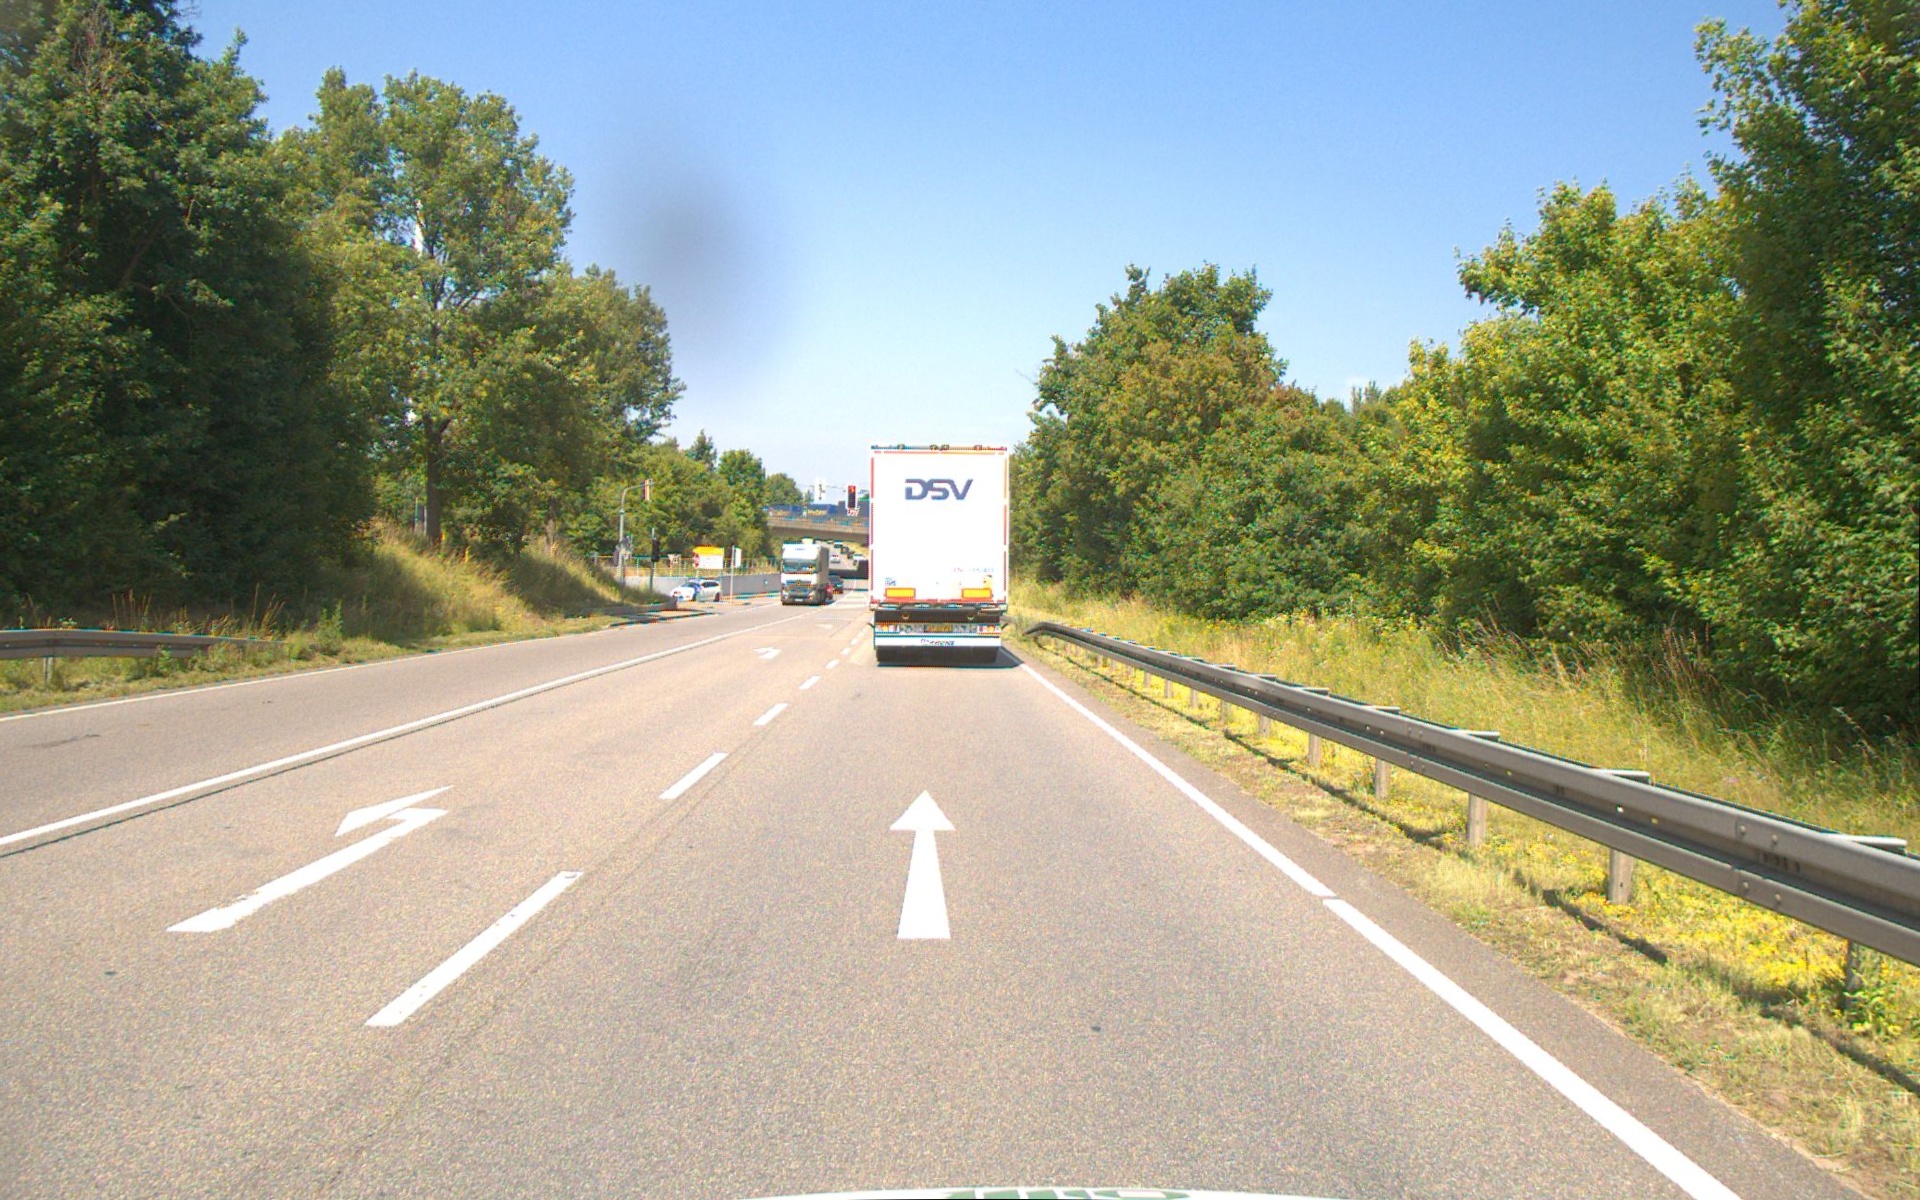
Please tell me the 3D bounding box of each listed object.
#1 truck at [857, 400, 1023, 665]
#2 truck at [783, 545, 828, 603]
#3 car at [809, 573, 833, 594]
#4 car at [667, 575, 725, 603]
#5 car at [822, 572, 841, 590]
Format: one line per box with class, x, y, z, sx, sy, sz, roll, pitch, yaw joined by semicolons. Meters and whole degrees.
truck;-0.524;-1.226;34.150;2.890;4.648;9.858;1;0;-2
truck;-10.732;-1.862;115.785;2.306;3.815;12.622;1;1;-2
car;-11.165;-1.370;133.207;1.712;1.654;3.702;1;1;-2
car;-18.357;-0.759;115.300;1.766;1.904;4.416;1;1;26
car;-12.428;-1.850;159.895;1.712;1.654;3.702;1;1;-2
